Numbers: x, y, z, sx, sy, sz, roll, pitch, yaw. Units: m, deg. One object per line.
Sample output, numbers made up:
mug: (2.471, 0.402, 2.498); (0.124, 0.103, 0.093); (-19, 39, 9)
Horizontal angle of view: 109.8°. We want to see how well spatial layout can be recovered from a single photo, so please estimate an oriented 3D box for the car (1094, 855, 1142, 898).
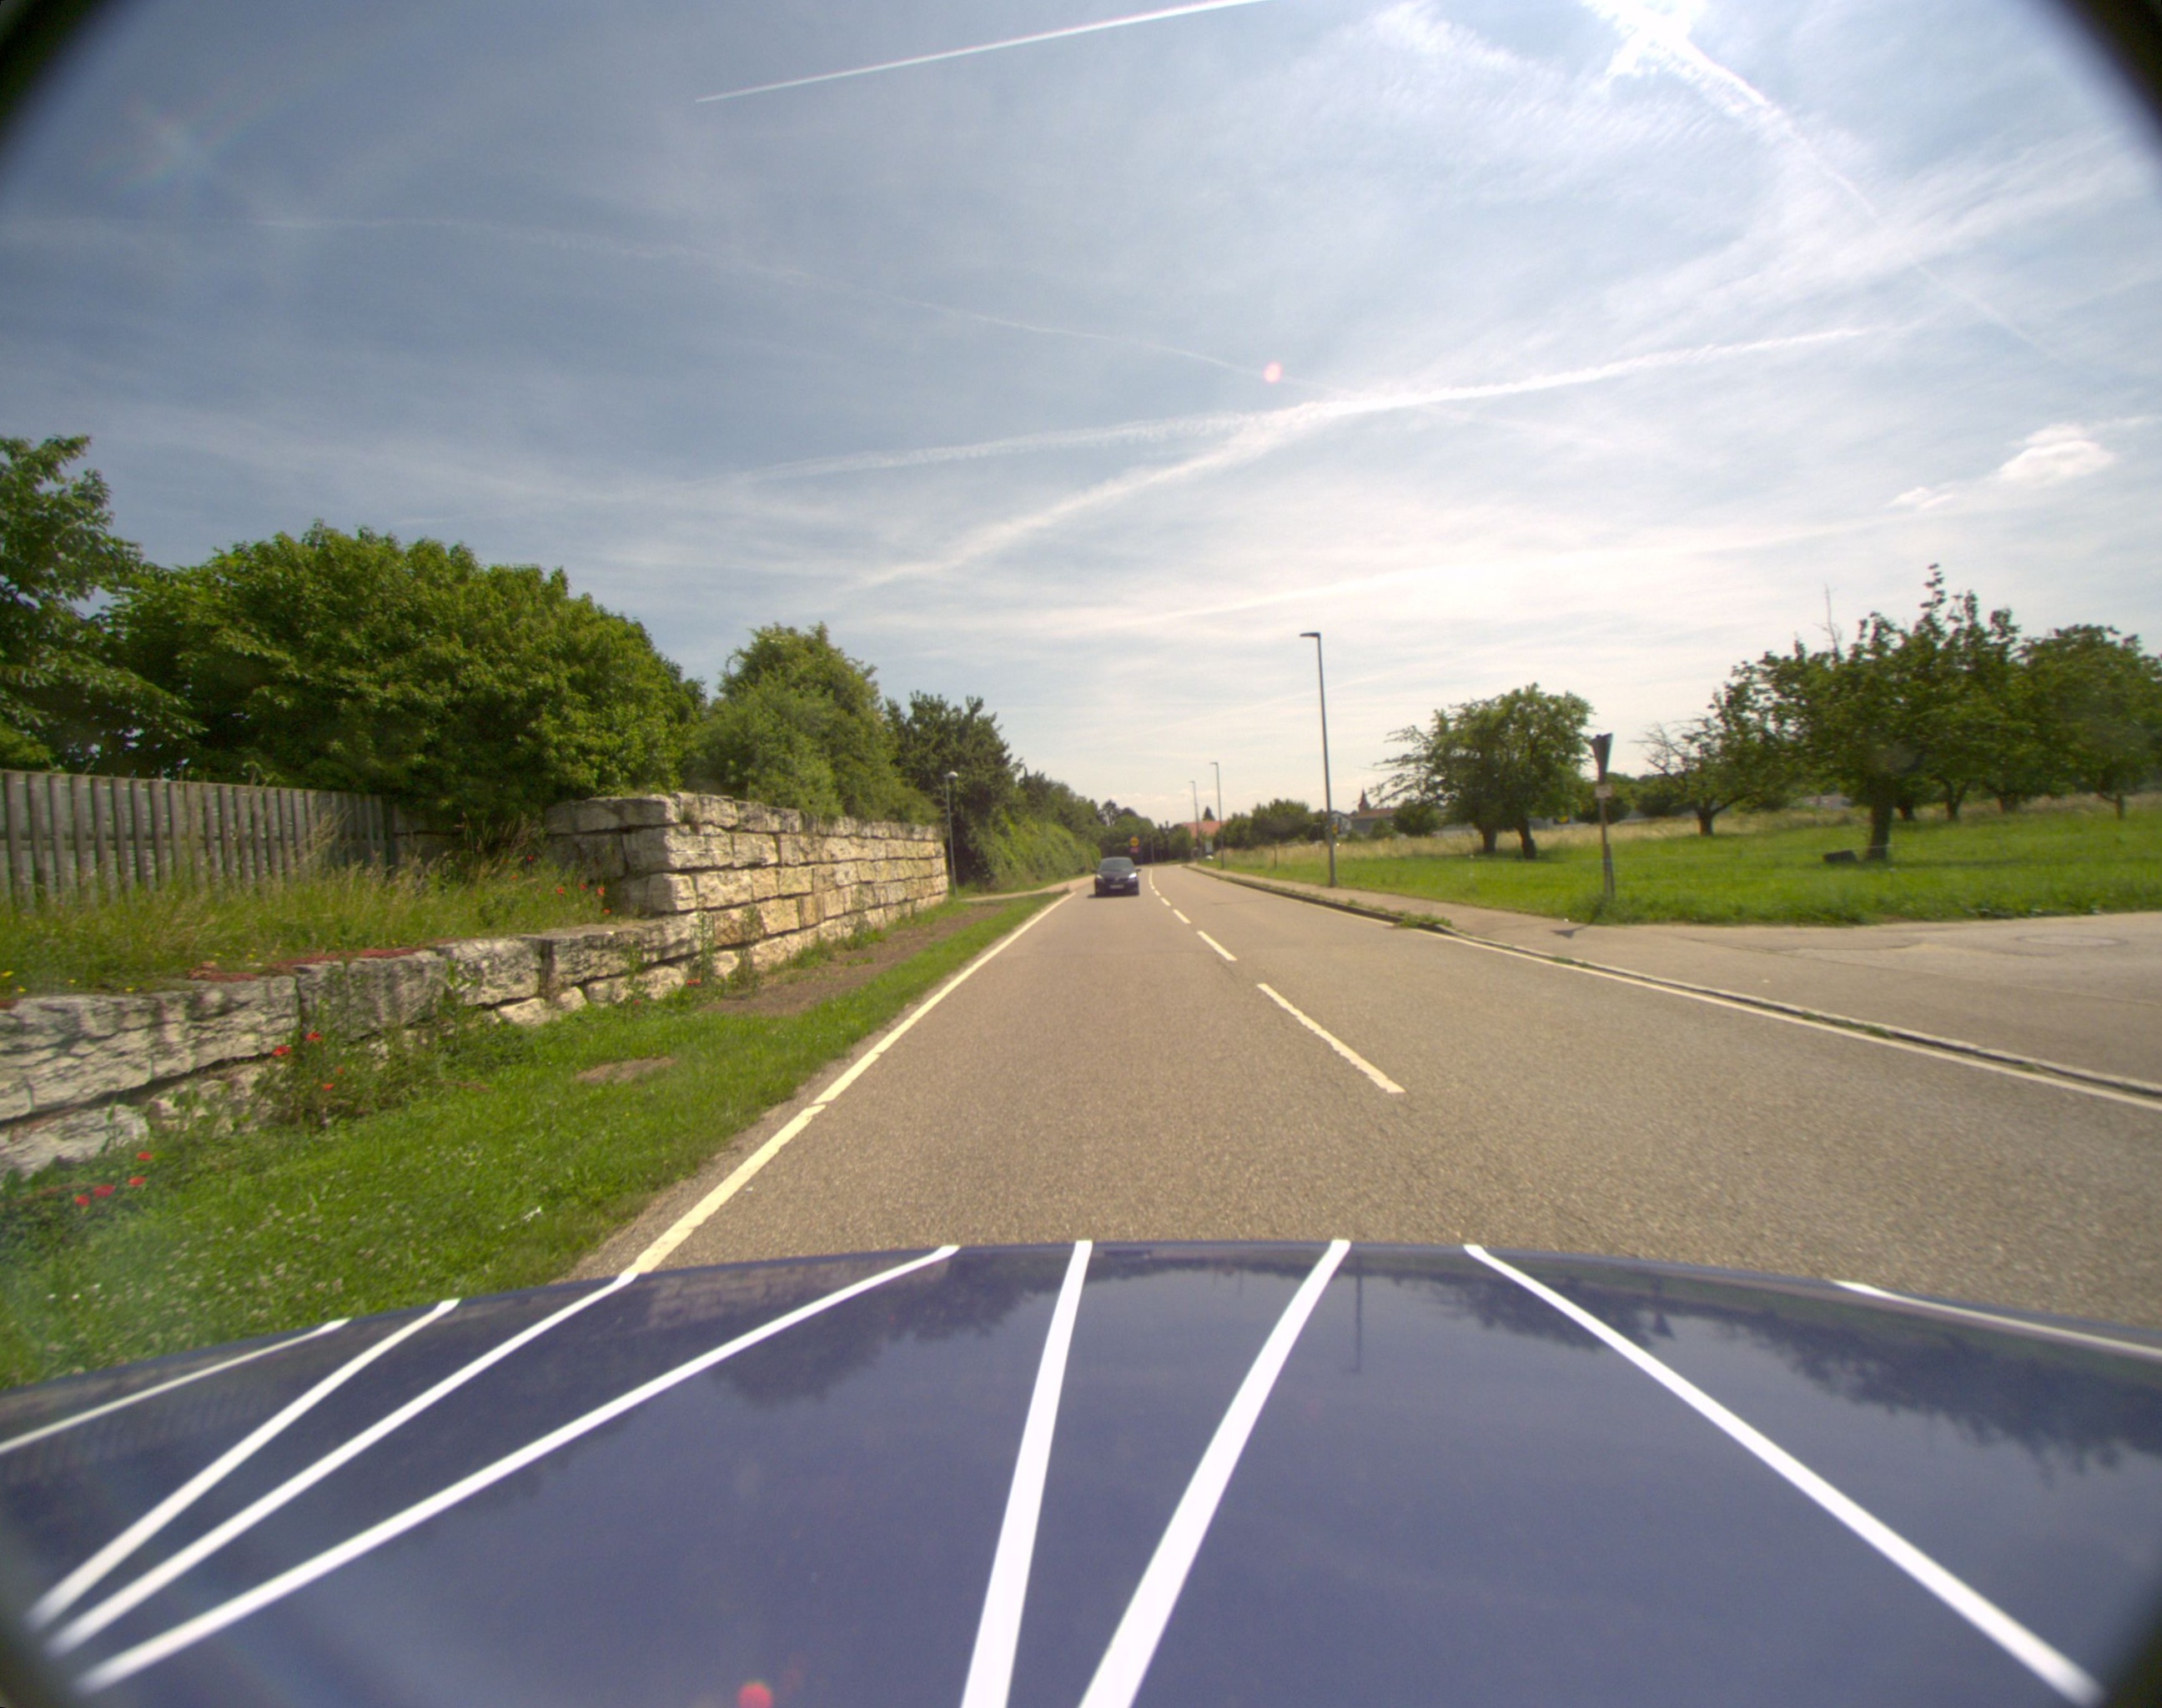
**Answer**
car: (1.476, 0.822, 29.822); (1.677, 1.456, 4.433); (-2, 0, 4)
